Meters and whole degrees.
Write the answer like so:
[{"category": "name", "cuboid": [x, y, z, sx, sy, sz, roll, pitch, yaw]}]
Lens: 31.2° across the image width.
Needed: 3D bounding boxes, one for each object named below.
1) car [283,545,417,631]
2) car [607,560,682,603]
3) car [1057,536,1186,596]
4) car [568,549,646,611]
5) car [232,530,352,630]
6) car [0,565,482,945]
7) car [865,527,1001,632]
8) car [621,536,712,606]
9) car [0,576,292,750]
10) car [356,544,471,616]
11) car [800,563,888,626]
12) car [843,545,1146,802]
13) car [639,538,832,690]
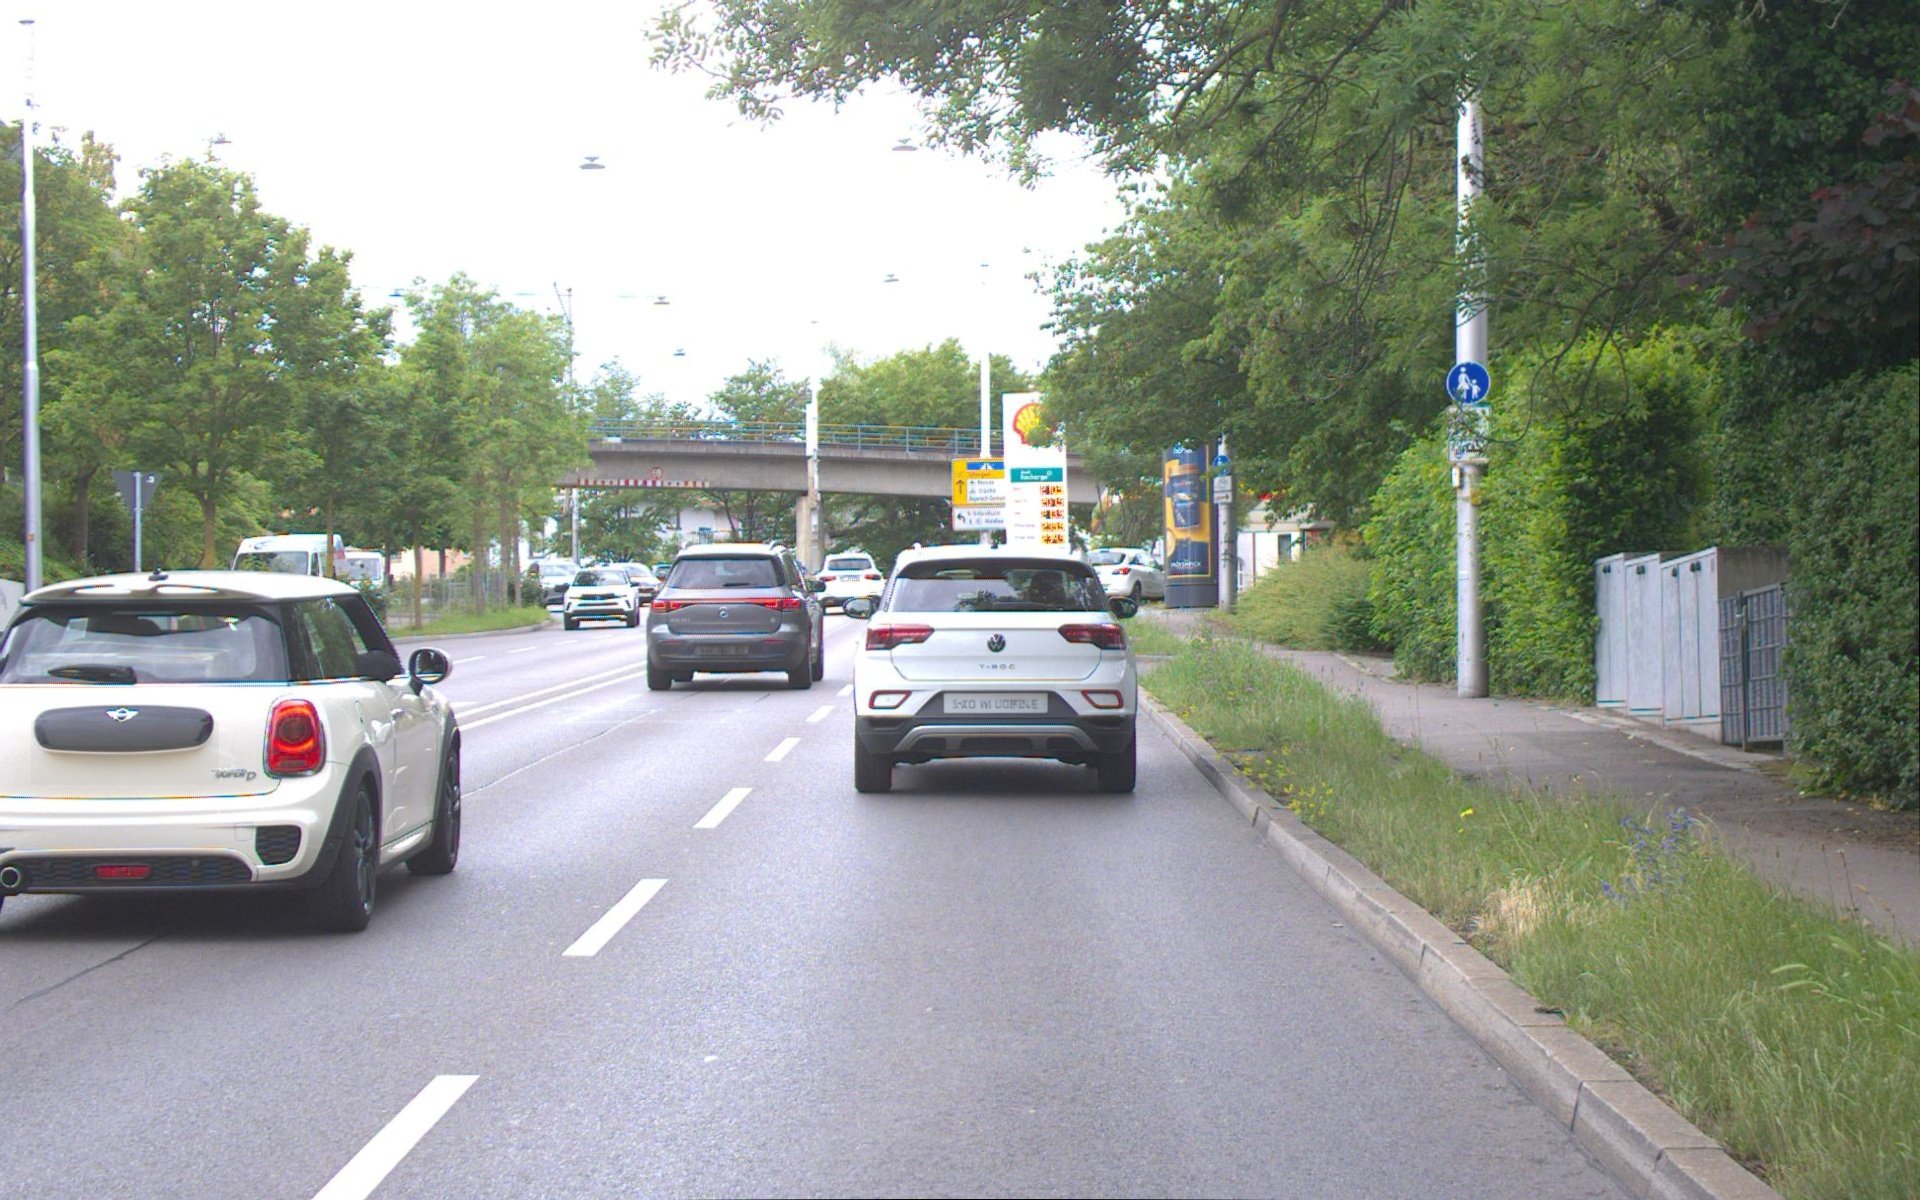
[{"category": "car", "cuboid": [-12.117, -0.260, 68.554, 2.068, 1.651, 4.693, 0, 1, -3]}, {"category": "car", "cuboid": [-11.576, -0.700, 125.854, 1.895, 1.536, 4.694, 0, 1, -16]}, {"category": "car", "cuboid": [4.155, -0.888, 87.872, 1.860, 1.495, 4.050, 0, 1, 25]}, {"category": "car", "cuboid": [-8.970, -0.521, 87.216, 1.895, 1.536, 4.694, 0, 1, -7]}, {"category": "car", "cuboid": [-15.874, -0.489, 81.938, 2.068, 2.298, 5.466, 0, 1, -3]}, {"category": "car", "cuboid": [-3.134, 0.562, 14.574, 1.628, 1.388, 3.566, -1, 1, 1]}, {"category": "car", "cuboid": [-0.469, -0.305, 54.639, 1.873, 1.496, 4.555, 3, 0, -3]}, {"category": "car", "cuboid": [-6.618, -0.657, 77.900, 1.896, 1.536, 4.693, 0, 1, -3]}, {"category": "car", "cuboid": [-7.226, 0.482, 29.665, 1.741, 1.348, 4.845, 0, 1, 3]}, {"category": "car", "cuboid": [-12.310, -0.463, 77.675, 2.068, 1.574, 4.693, 0, 1, -3]}, {"category": "car", "cuboid": [-3.195, -0.169, 94.142, 1.857, 1.646, 4.637, -1, 1, -9]}, {"category": "car", "cuboid": [0.186, 0.419, 22.603, 1.811, 1.534, 3.690, -1, 1, -1]}, {"category": "car", "cuboid": [-2.544, 0.124, 39.972, 1.813, 1.646, 4.636, -1, 1, 1]}]
